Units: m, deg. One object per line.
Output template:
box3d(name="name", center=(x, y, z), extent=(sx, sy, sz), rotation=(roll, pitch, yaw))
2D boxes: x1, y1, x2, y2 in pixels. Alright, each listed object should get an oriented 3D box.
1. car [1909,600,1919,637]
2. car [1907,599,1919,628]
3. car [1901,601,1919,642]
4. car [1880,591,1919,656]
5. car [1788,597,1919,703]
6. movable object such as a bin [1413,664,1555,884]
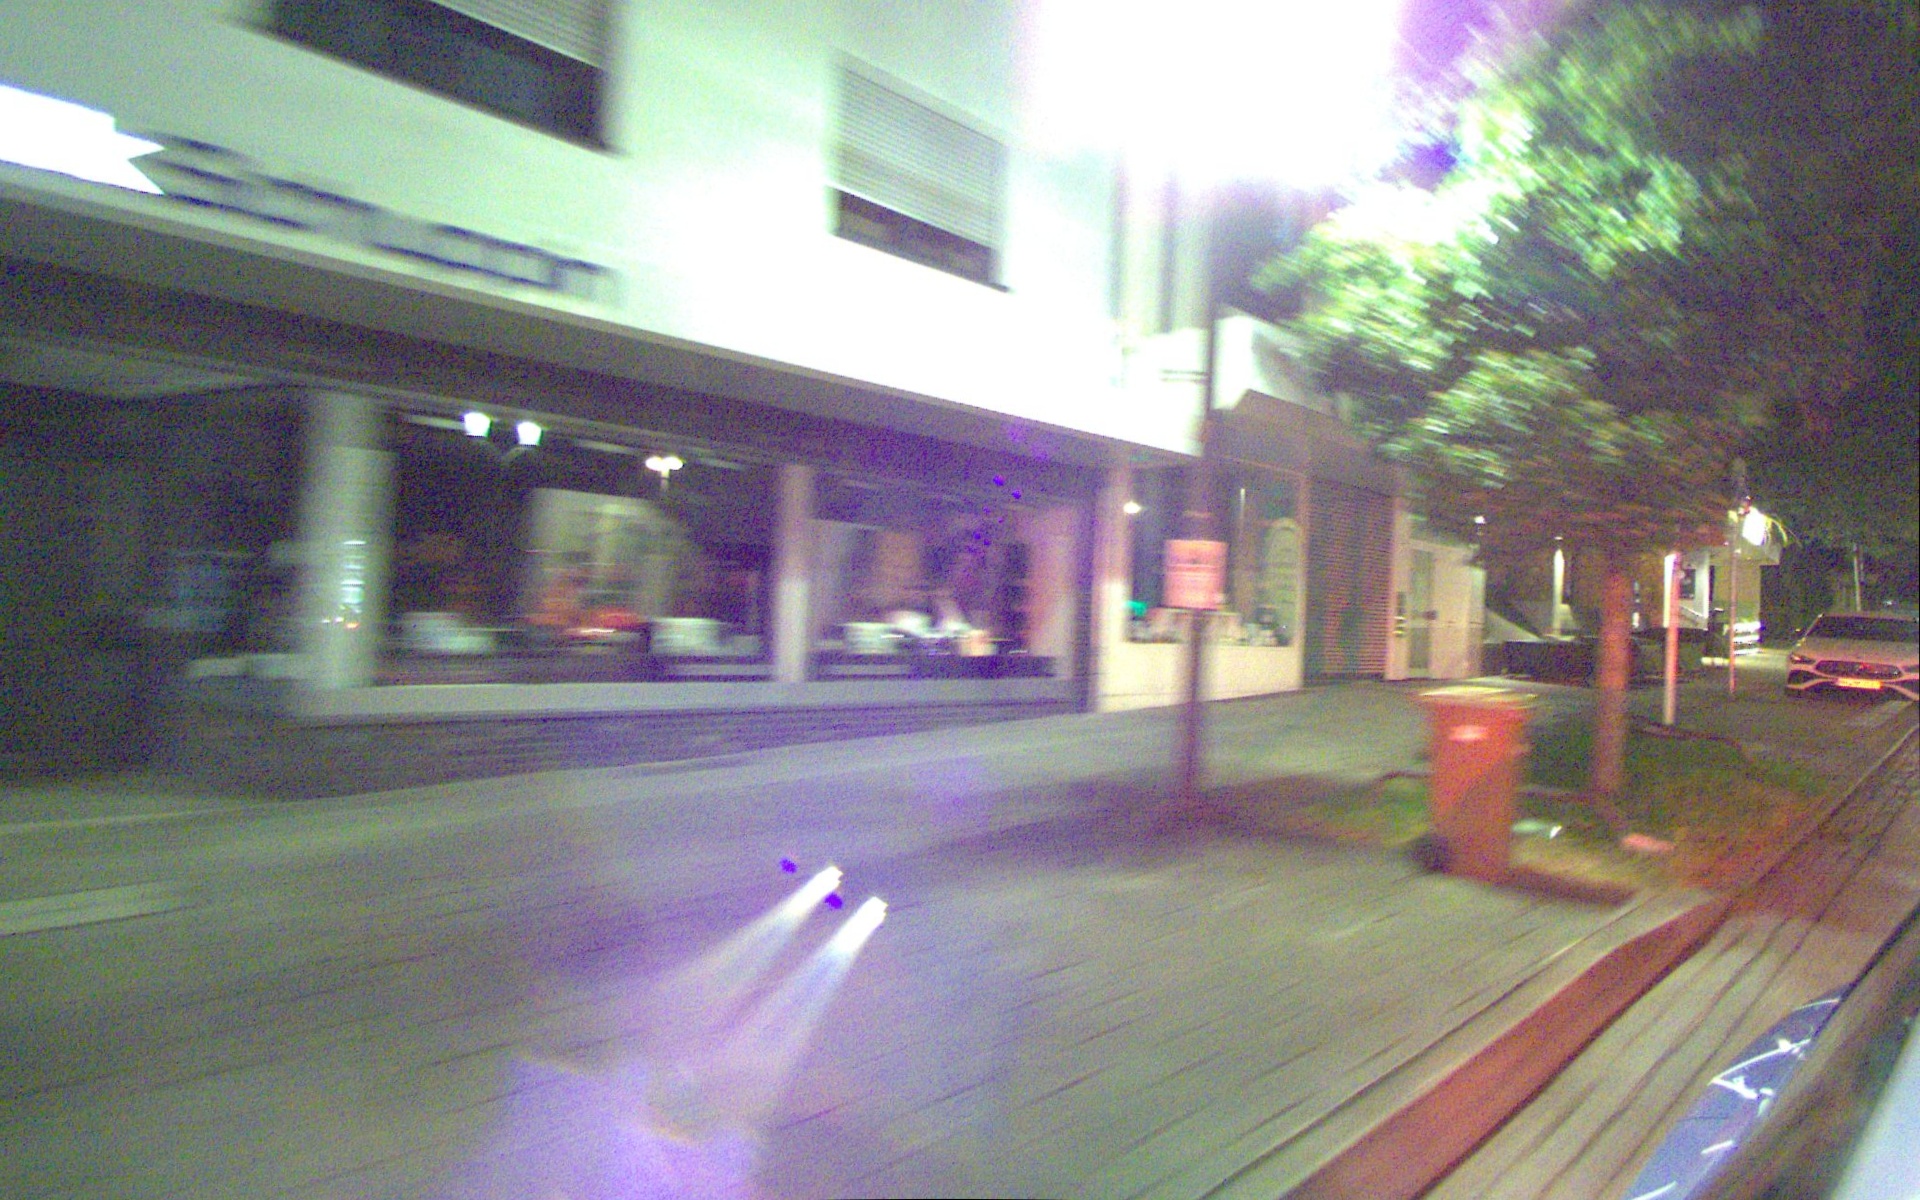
box3d(name="car", center=(40.705, 0.758, 41.988), extent=(4.534, 1.465, 1.678), rotation=(0, 0, -43))
box3d(name="car", center=(51.613, 0.719, 53.915), extent=(1.638, 1.485, 3.716), rotation=(-1, -1, 44))
box3d(name="car", center=(36.768, 0.786, 38.211), extent=(1.779, 1.456, 4.223), rotation=(-1, 0, 43))
box3d(name="car", center=(26.473, 0.628, 27.601), extent=(4.308, 1.662, 1.788), rotation=(0, 3, -45))
box3d(name="car", center=(15.107, 0.725, 16.569), extent=(4.518, 1.460, 1.859), rotation=(0, 3, -44))
box3d(name="movable object such as a bin", center=(2.628, 0.826, 5.065), extent=(0.523, 0.949, 0.621), rotation=(0, 1, 39))
